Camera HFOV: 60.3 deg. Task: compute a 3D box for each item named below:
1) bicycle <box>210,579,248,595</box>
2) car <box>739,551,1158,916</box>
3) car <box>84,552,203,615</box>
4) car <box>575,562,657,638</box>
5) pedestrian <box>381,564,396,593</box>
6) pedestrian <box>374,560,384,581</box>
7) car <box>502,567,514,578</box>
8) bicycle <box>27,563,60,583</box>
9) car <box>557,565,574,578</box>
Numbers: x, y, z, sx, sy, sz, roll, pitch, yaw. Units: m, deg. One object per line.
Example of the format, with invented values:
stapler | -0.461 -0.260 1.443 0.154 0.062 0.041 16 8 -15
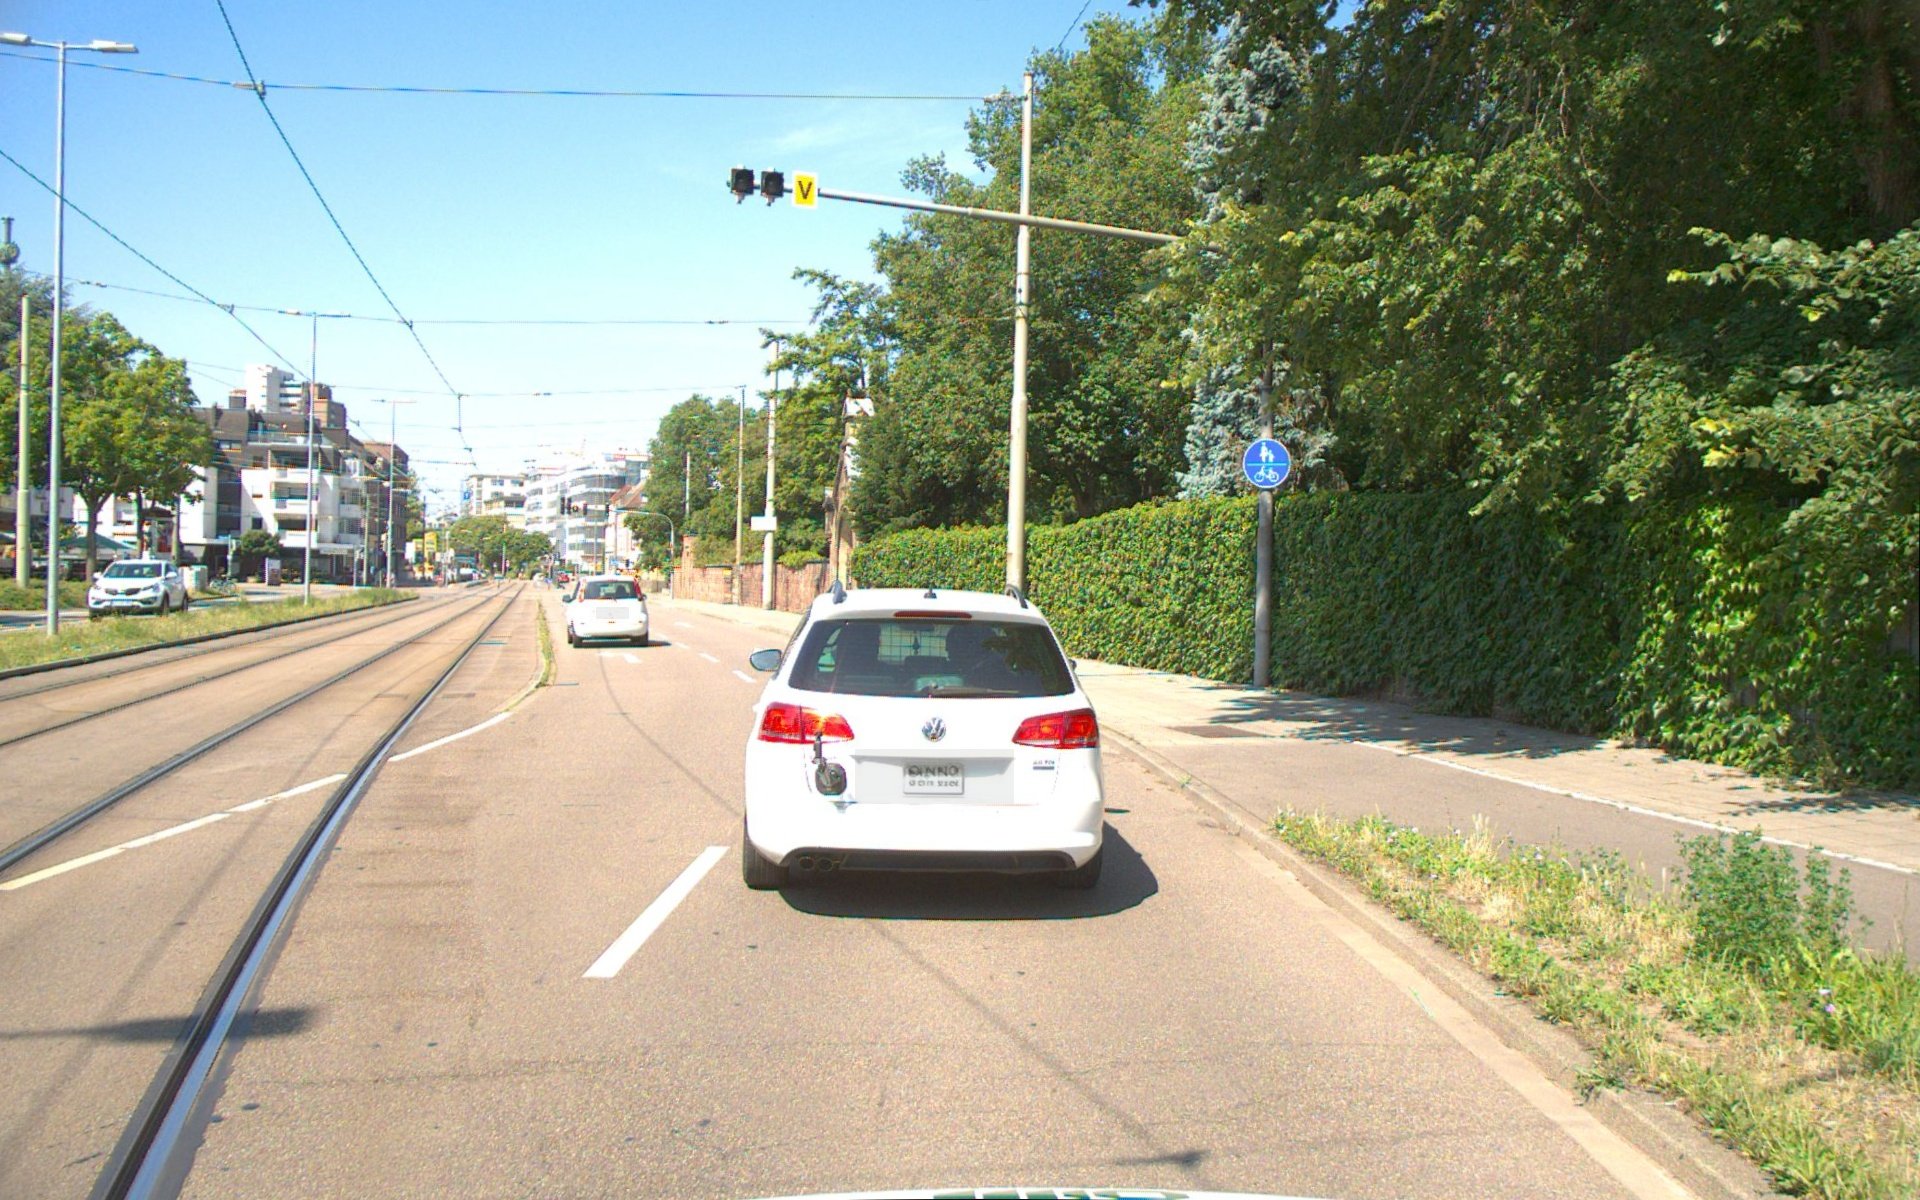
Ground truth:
bicycle | -43.145 -0.759 97.621 0.541 0.937 2.174 1 1 29
car | -0.125 0.535 8.861 1.743 1.516 3.845 1 1 -3
car | -22.293 -0.491 45.336 2.009 1.625 4.642 -1 1 -15
car | -7.794 -0.030 37.725 1.699 1.624 4.002 1 1 -10
pedestrian | -34.897 -1.301 100.972 0.815 1.769 0.926 0 0 -22
pedestrian | -56.990 -2.891 162.121 0.923 2.049 0.985 0 1 -20
car | -67.970 -4.210 248.751 1.670 1.619 3.520 0 1 -15
bicycle | -44.008 -1.291 79.421 0.770 0.904 2.382 1 1 -14
car | -59.824 -4.274 250.729 1.965 1.937 3.976 0 1 -21
